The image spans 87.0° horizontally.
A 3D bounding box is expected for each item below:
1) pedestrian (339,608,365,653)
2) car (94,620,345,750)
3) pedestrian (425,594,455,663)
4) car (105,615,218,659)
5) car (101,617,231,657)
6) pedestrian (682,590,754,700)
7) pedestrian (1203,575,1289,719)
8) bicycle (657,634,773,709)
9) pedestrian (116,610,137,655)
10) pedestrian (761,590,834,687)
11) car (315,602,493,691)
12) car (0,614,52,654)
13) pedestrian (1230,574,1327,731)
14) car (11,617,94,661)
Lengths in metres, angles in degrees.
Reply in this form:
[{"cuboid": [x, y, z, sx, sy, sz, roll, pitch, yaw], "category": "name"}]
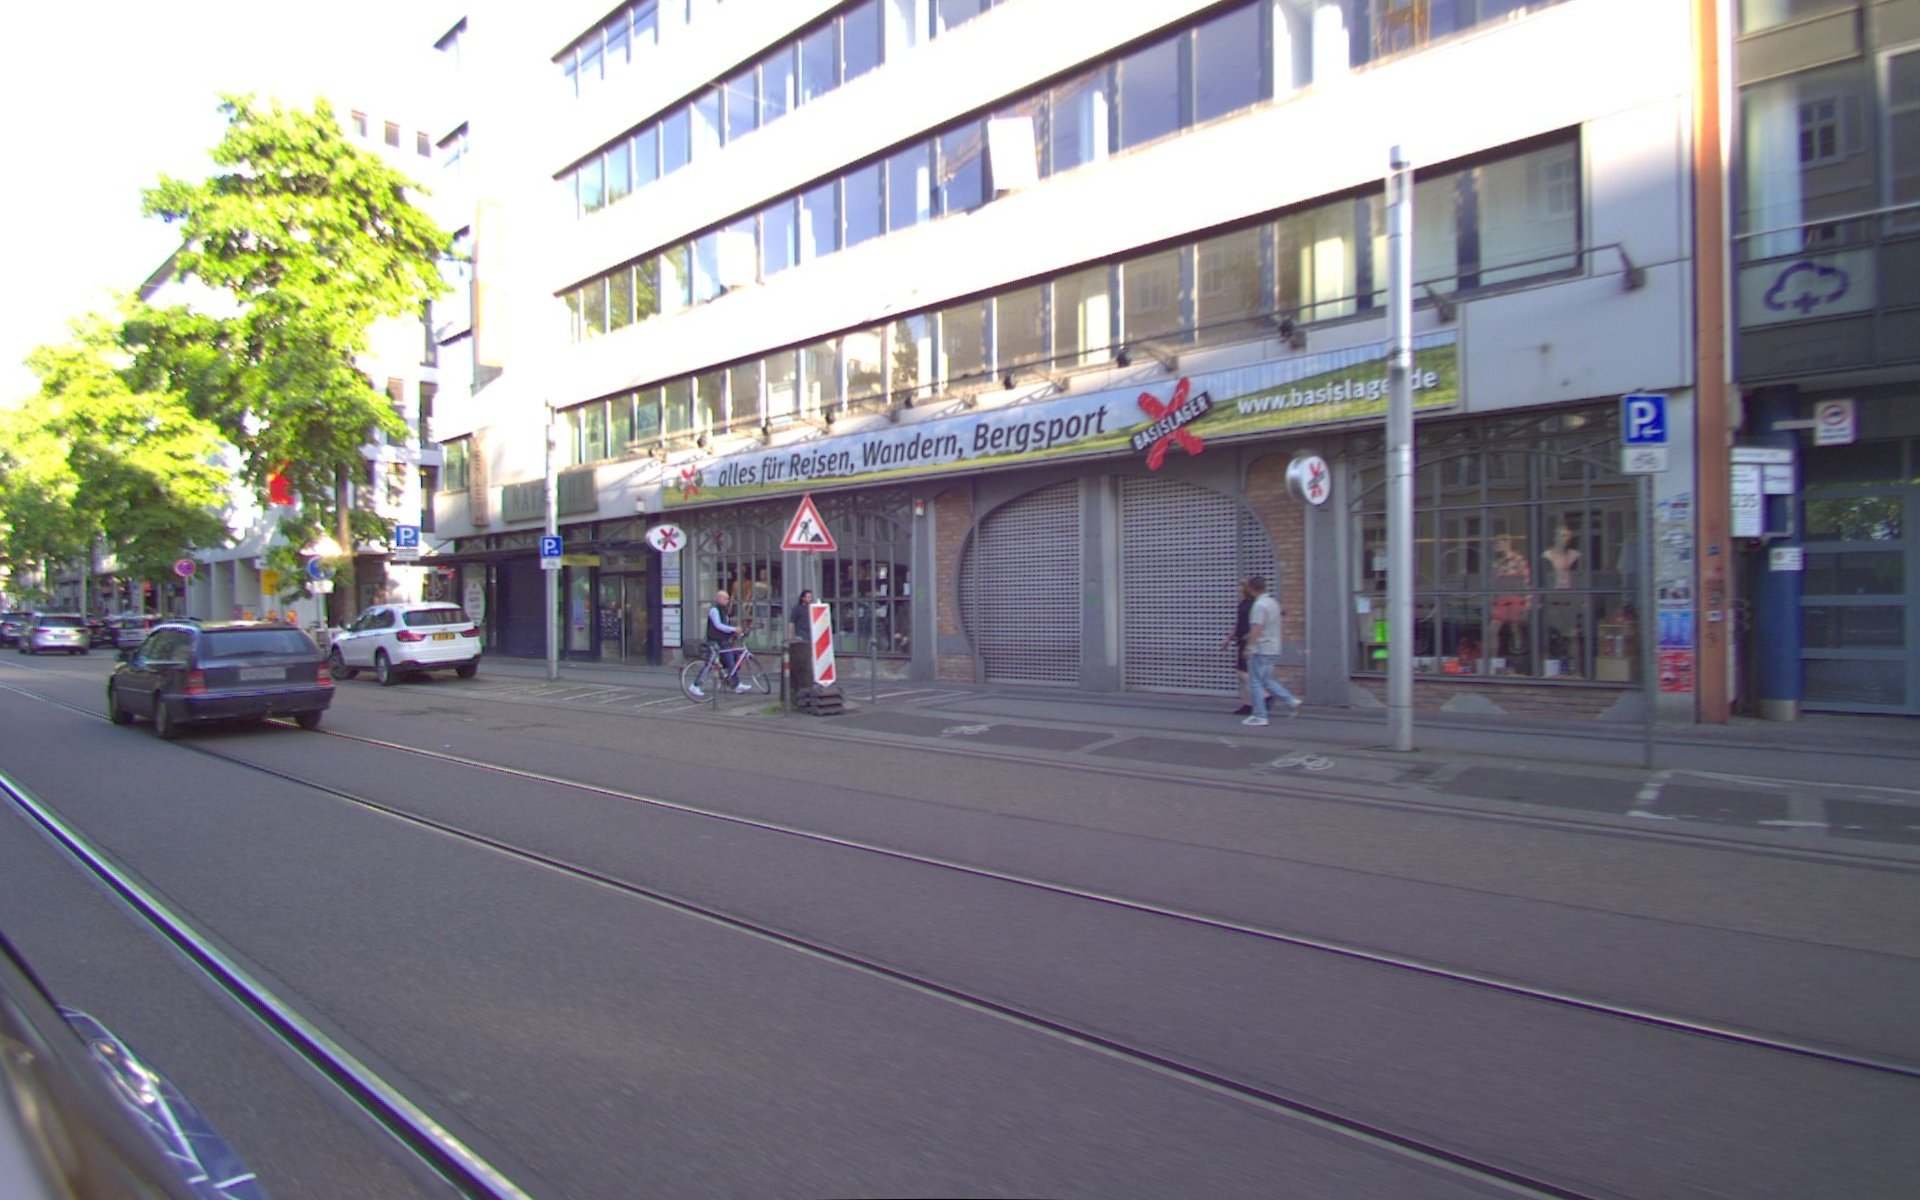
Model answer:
[{"cuboid": [-22.749, 1.146, 37.870, 0.611, 1.658, 0.716, -2, -1, 43], "category": "pedestrian"}, {"cuboid": [-9.921, 0.995, 13.423, 4.526, 1.418, 1.760, -1, -1, 41], "category": "car"}, {"cuboid": [-15.604, 0.844, 30.379, 0.592, 2.029, 0.608, -2, -1, 39], "category": "pedestrian"}, {"cuboid": [-33.265, 1.512, 42.265, 1.770, 1.572, 3.391, -1, 2, 10], "category": "car"}, {"cuboid": [-34.929, 1.576, 44.674, 1.568, 1.423, 4.287, -1, 2, 22], "category": "car"}, {"cuboid": [-4.067, 0.738, 17.029, 0.830, 1.779, 0.843, -1, -1, 34], "category": "pedestrian"}, {"cuboid": [3.574, 0.566, 12.652, 0.808, 1.725, 0.620, -1, 0, 45], "category": "pedestrian"}, {"cuboid": [-3.872, 1.107, 16.111, 1.724, 0.999, 0.479, -5, 2, -42], "category": "bicycle"}, {"cuboid": [-37.122, 1.445, 45.078, 0.723, 1.948, 0.647, -2, -1, 43], "category": "pedestrian"}, {"cuboid": [-3.039, 0.702, 18.929, 1.037, 1.708, 0.824, -1, 2, 41], "category": "pedestrian"}, {"cuboid": [-12.783, 1.007, 23.125, 4.741, 1.767, 1.973, -1, 1, 40], "category": "car"}, {"cuboid": [-45.026, 1.596, 48.276, 4.198, 1.820, 2.013, -1, -2, 41], "category": "car"}, {"cuboid": [3.683, 0.579, 11.712, 0.829, 1.725, 0.634, -1, 0, 45], "category": "pedestrian"}, {"cuboid": [-35.736, 1.519, 39.827, 4.198, 1.624, 1.865, -1, -3, 41], "category": "car"}]
